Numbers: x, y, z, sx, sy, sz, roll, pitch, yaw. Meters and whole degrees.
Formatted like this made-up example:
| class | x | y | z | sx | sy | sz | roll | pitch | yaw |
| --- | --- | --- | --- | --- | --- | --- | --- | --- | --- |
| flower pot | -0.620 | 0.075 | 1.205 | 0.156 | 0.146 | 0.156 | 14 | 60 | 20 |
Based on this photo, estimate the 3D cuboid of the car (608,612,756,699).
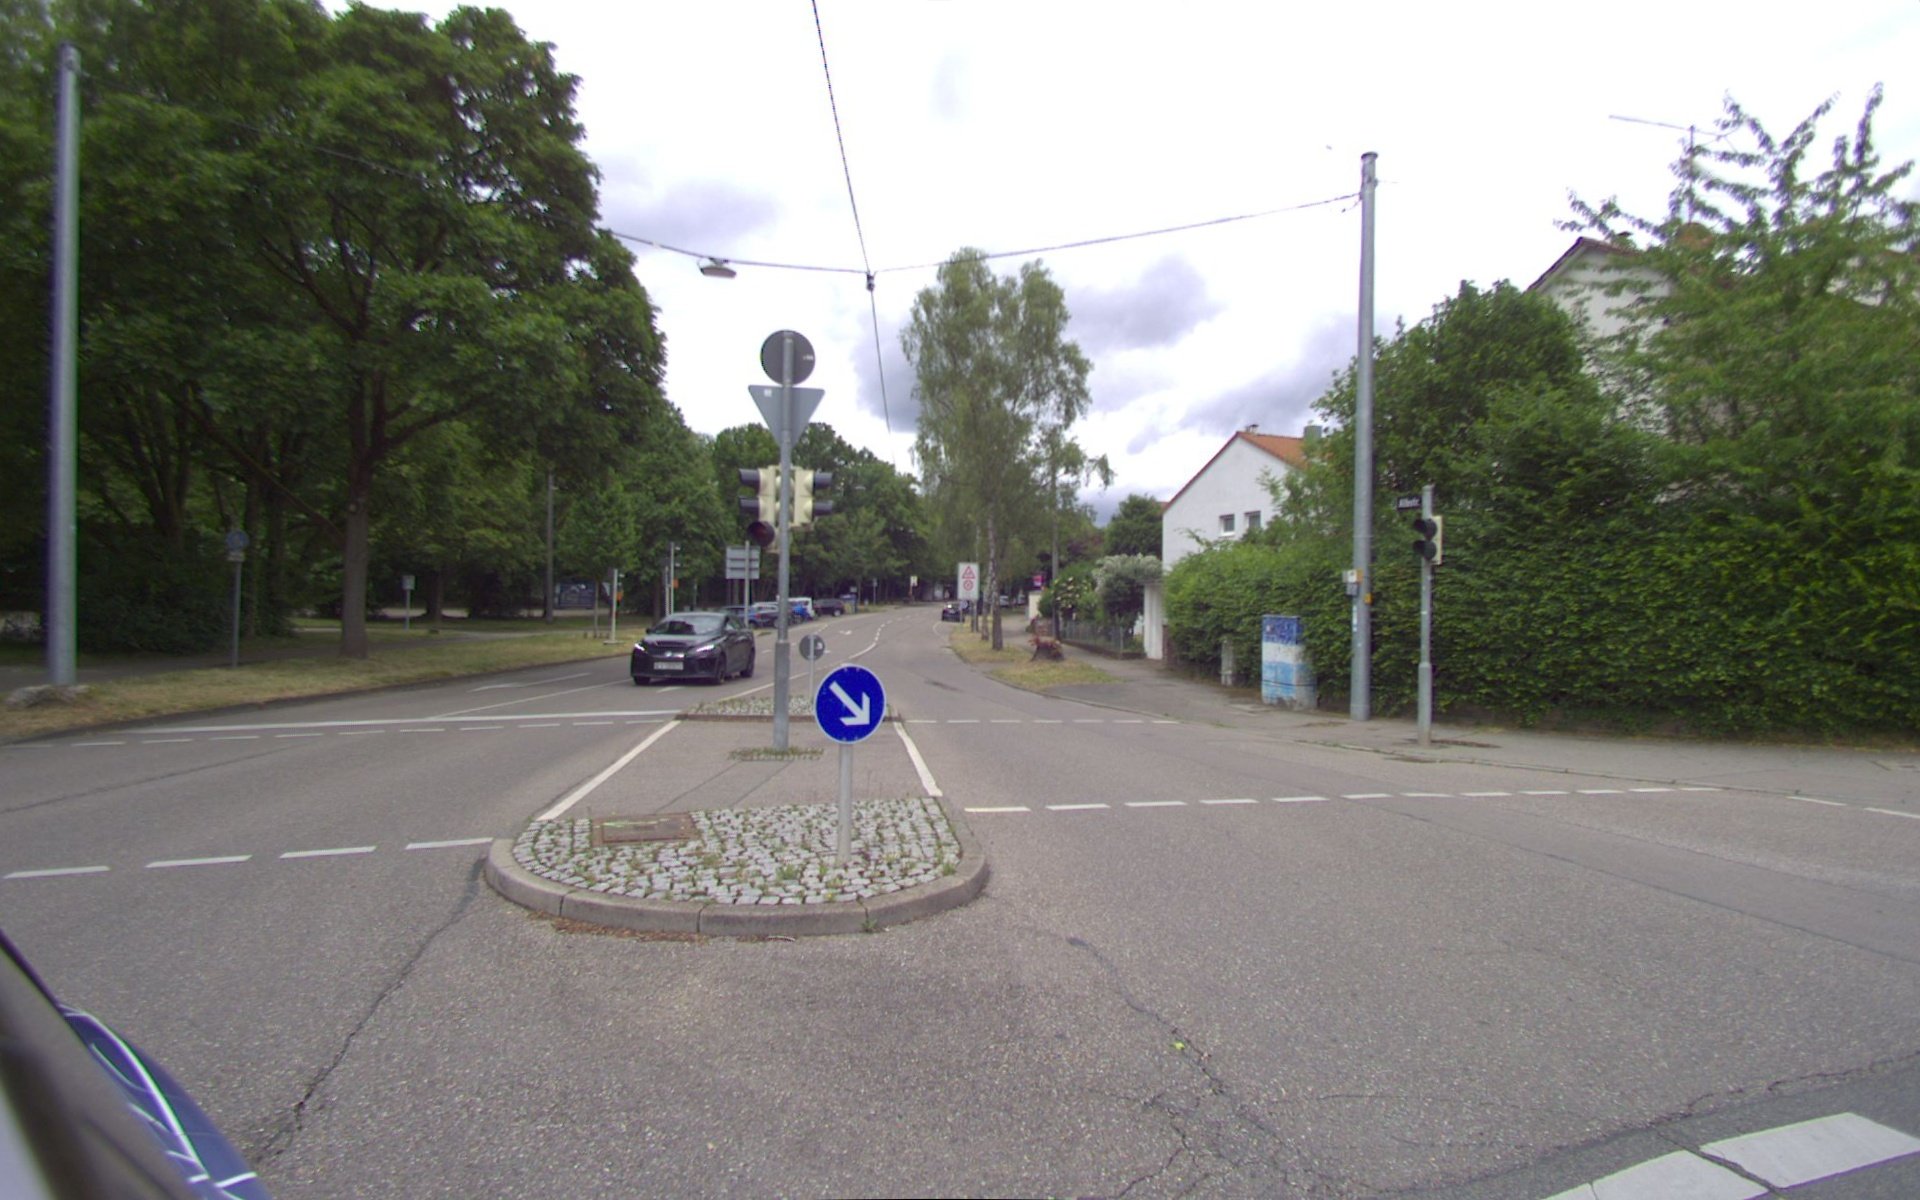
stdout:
| class | x | y | z | sx | sy | sz | roll | pitch | yaw |
| --- | --- | --- | --- | --- | --- | --- | --- | --- | --- |
| car | -5.834 | 1.113 | 21.721 | 1.973 | 1.630 | 3.998 | -2 | -1 | 1 |

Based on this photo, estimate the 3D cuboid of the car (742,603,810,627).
| class | x | y | z | sx | sy | sz | roll | pitch | yaw |
| --- | --- | --- | --- | --- | --- | --- | --- | --- | --- |
| car | -12.836 | 1.050 | 70.647 | 4.342 | 1.621 | 2.007 | 1 | -1 | -22 |

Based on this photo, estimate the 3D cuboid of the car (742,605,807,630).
| class | x | y | z | sx | sy | sz | roll | pitch | yaw |
| --- | --- | --- | --- | --- | --- | --- | --- | --- | --- |
| car | -12.068 | 1.116 | 65.805 | 3.932 | 1.497 | 1.924 | 2 | -1 | -16 |

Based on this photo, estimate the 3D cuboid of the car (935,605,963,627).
| class | x | y | z | sx | sy | sz | roll | pitch | yaw |
| --- | --- | --- | --- | --- | --- | --- | --- | --- | --- |
| car | -0.907 | 1.315 | 84.876 | 1.950 | 1.621 | 4.414 | 3 | 1 | 4 |

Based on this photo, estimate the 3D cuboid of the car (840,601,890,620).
| class | x | y | z | sx | sy | sz | roll | pitch | yaw |
| --- | --- | --- | --- | --- | --- | --- | --- | --- | --- |
| car | -8.537 | 0.912 | 90.636 | 4.349 | 1.621 | 2.003 | 1 | -1 | -8 |

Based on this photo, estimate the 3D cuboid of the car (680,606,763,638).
| class | x | y | z | sx | sy | sz | roll | pitch | yaw |
| --- | --- | --- | --- | --- | --- | --- | --- | --- | --- |
| car | -12.364 | 1.148 | 52.351 | 3.931 | 1.497 | 1.925 | 2 | 0 | -19 |

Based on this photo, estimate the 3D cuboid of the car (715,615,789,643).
| class | x | y | z | sx | sy | sz | roll | pitch | yaw |
| --- | --- | --- | --- | --- | --- | --- | --- | --- | --- |
| car | -11.885 | 1.645 | 57.726 | 3.932 | 1.497 | 1.924 | 2 | -1 | -16 |

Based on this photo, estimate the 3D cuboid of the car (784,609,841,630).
| class | x | y | z | sx | sy | sz | roll | pitch | yaw |
| --- | --- | --- | --- | --- | --- | --- | --- | --- | --- |
| car | -11.975 | 1.588 | 81.954 | 4.345 | 1.621 | 2.005 | 1 | -1 | -13 |
